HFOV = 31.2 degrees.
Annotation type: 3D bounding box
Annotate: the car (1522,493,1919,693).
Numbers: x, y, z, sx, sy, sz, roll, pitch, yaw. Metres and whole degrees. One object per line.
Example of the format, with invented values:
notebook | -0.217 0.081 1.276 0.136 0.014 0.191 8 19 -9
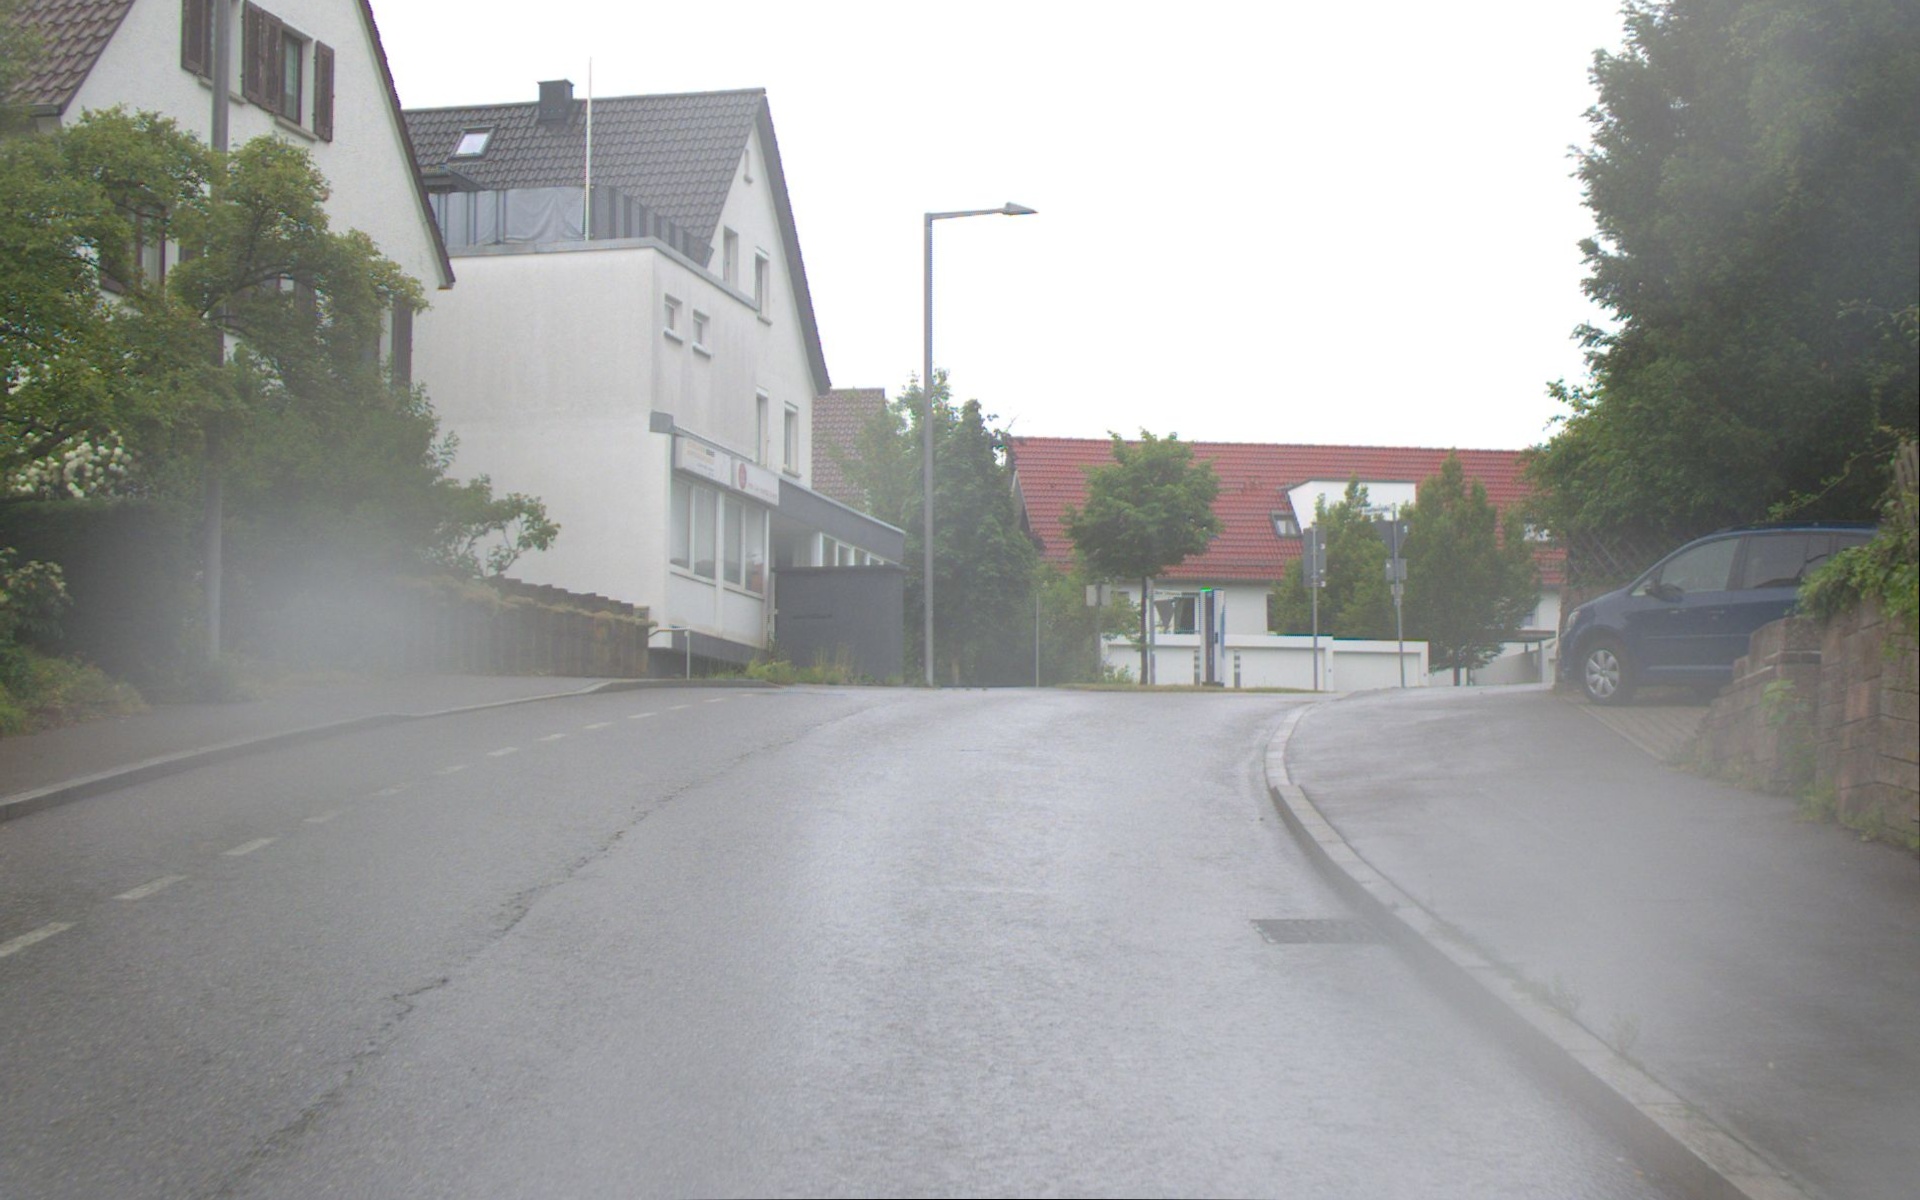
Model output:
car | 7.415 -0.065 31.190 1.851 1.601 4.338 -6 2 -39
